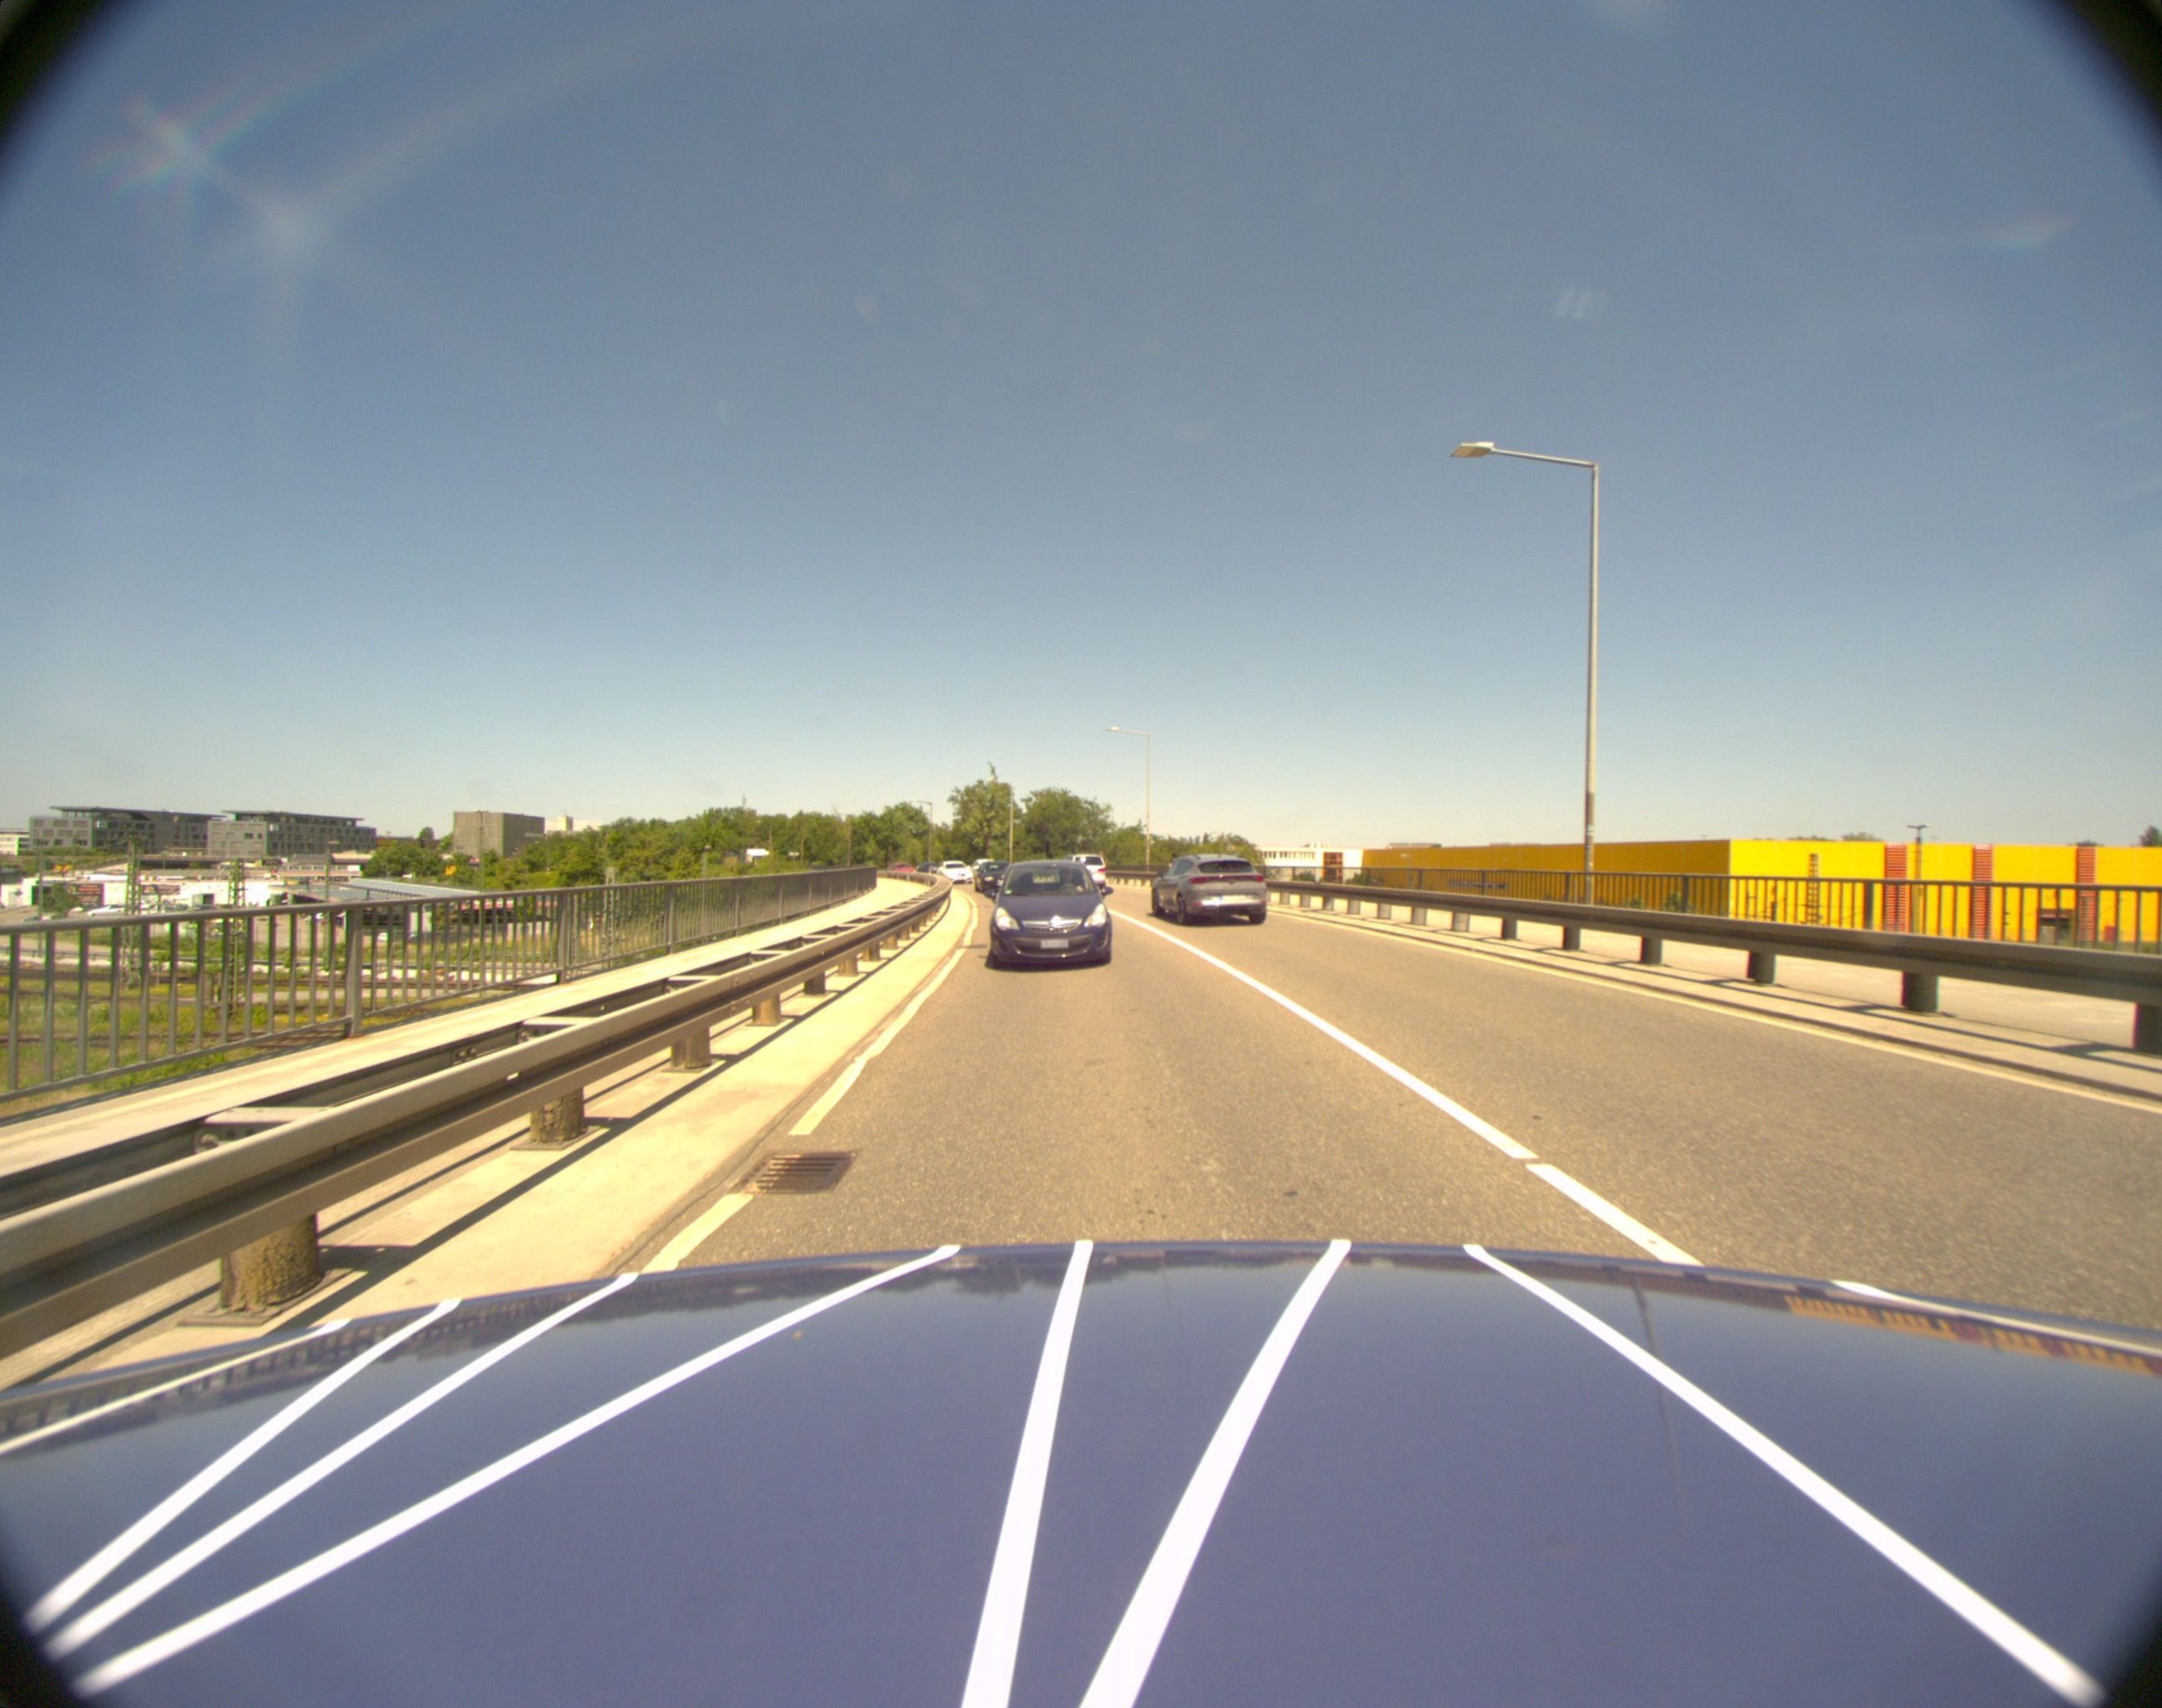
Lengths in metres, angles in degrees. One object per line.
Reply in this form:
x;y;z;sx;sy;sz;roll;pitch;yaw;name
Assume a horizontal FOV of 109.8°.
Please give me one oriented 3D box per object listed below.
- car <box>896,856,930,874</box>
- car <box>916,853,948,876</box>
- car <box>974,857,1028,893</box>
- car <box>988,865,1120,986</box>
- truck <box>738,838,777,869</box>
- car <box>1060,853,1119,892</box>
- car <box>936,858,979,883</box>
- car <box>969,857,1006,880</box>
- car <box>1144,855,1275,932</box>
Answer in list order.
-14.593;0.918;65.909;1.798;1.447;4.513;-1;1;-27;car
-14.523;1.001;73.763;2.002;2.002;3.992;-4;1;-26;car
-3.695;0.908;34.466;1.796;1.446;4.517;-2;0;-14;car
-0.527;0.941;11.715;1.645;1.431;3.998;-2;0;-5;car
-46.952;-0.054;110.133;2.701;4.204;6.820;-4;2;-45;truck
0.323;0.786;34.291;1.700;1.598;3.995;-1;0;-13;car
-7.946;1.001;48.591;1.797;1.446;4.515;-2;0;-21;car
-6.925;1.072;55.991;1.701;1.598;3.993;-1;0;-22;car
2.773;0.792;17.379;1.781;1.499;4.191;-1;0;-7;car
